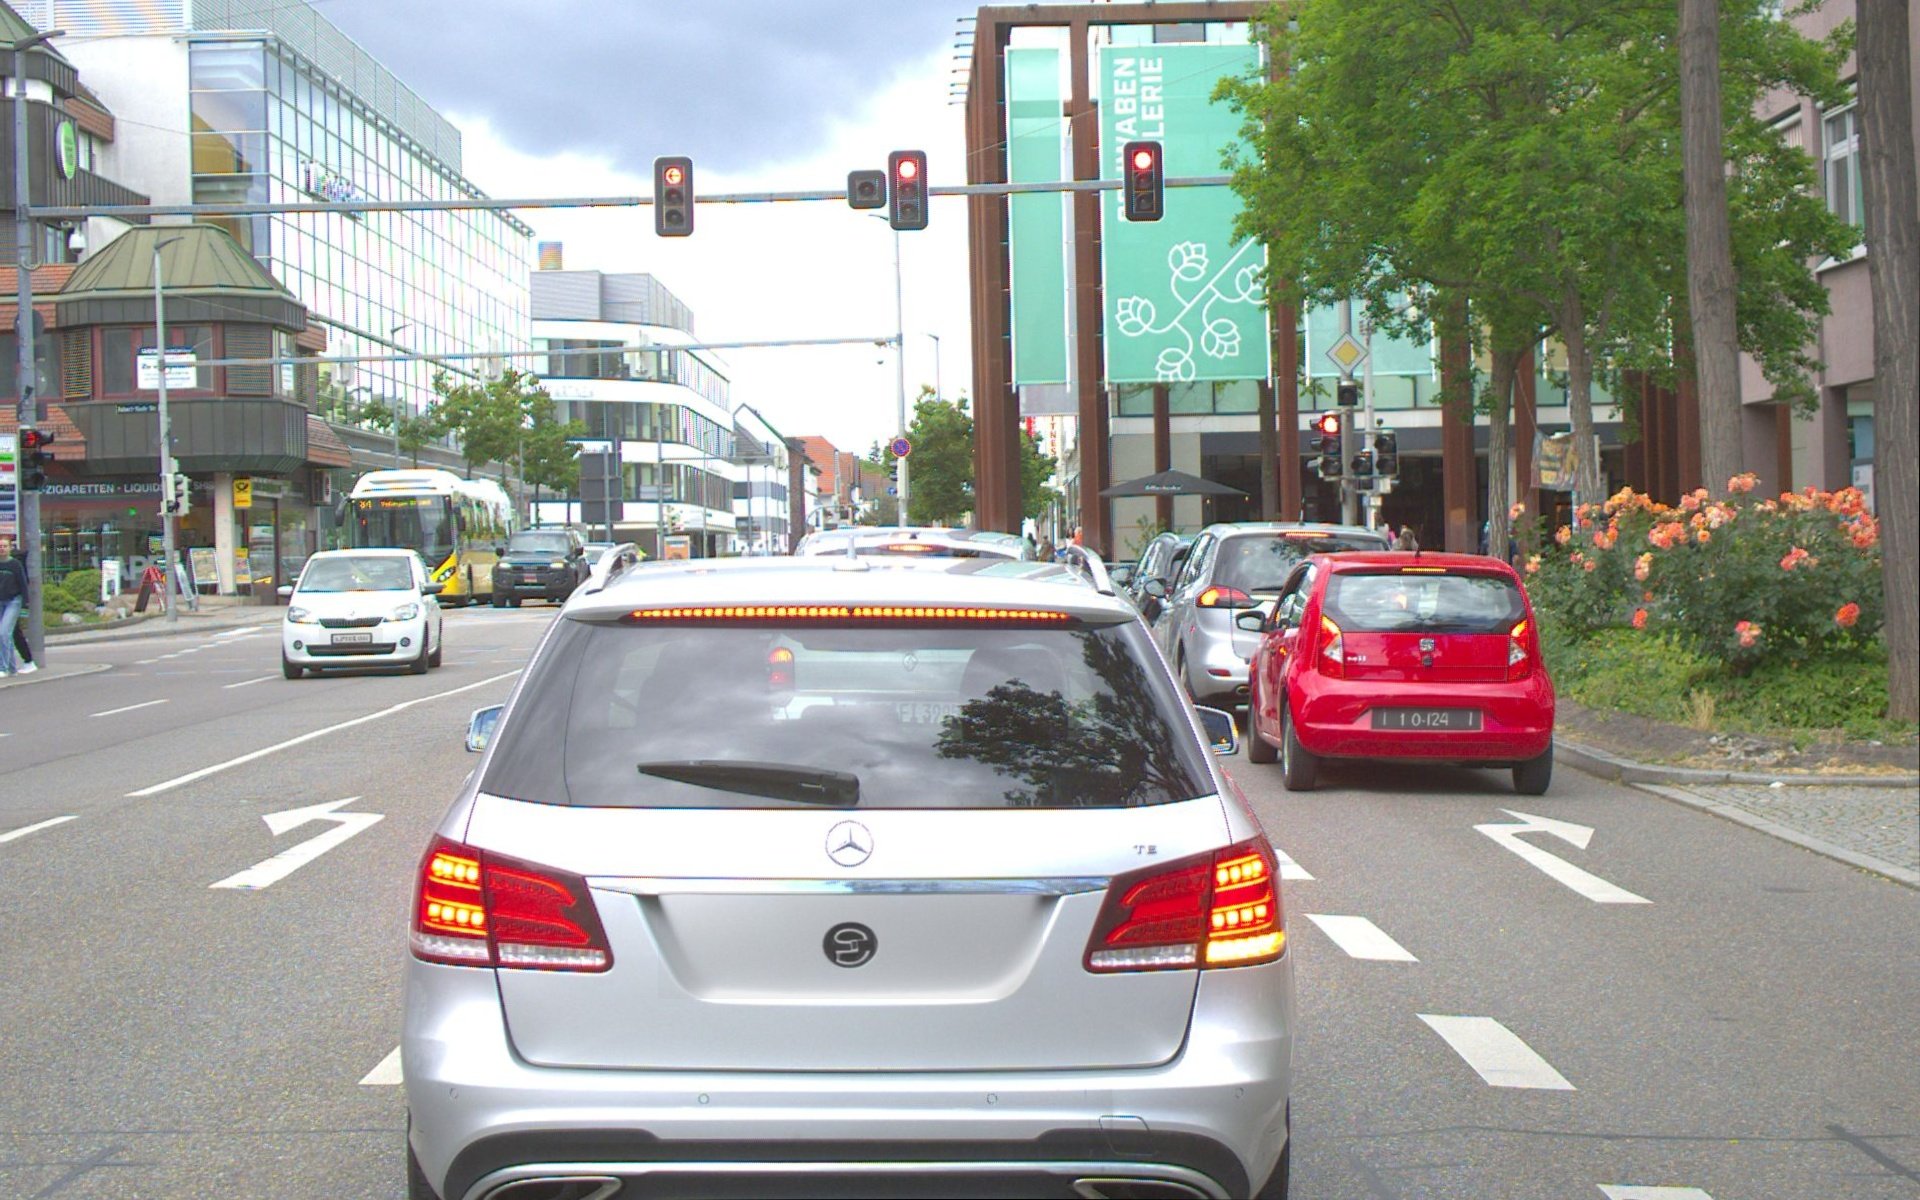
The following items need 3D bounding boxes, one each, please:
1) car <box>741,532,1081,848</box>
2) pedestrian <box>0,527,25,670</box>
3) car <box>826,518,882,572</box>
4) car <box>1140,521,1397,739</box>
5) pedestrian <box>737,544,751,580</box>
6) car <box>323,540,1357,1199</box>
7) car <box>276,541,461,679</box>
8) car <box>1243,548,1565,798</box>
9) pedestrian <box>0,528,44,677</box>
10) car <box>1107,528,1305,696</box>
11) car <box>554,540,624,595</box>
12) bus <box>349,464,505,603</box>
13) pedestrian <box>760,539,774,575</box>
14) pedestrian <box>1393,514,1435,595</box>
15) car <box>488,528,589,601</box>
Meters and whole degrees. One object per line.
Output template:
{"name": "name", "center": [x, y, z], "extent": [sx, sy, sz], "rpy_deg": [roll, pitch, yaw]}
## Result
{"name": "car", "center": [-0.254, 0.405, 18.330], "extent": [1.640, 1.522, 3.394], "rpy_deg": [0, 1, 0]}
{"name": "pedestrian", "center": [-12.023, -0.016, 42.727], "extent": [0.644, 1.769, 0.570], "rpy_deg": [-1, 1, -25]}
{"name": "car", "center": [-3.934, -2.048, 127.967], "extent": [1.993, 1.942, 4.951], "rpy_deg": [-1, 1, -1]}
{"name": "car", "center": [2.442, 0.189, 28.020], "extent": [1.586, 1.628, 3.917], "rpy_deg": [1, 1, -2]}
{"name": "pedestrian", "center": [-10.311, -1.813, 164.274], "extent": [0.519, 1.728, 0.489], "rpy_deg": [-1, 1, 13]}
{"name": "car", "center": [-0.222, 0.597, 8.285], "extent": [1.815, 1.443, 4.370], "rpy_deg": [1, 1, 0]}
{"name": "car", "center": [-6.851, 0.080, 40.117], "extent": [1.574, 1.483, 3.464], "rpy_deg": [-2, 1, -1]}
{"name": "car", "center": [2.758, 0.407, 21.963], "extent": [1.586, 1.438, 3.348], "rpy_deg": [1, 1, 0]}
{"name": "pedestrian", "center": [-11.625, 0.028, 41.767], "extent": [0.683, 1.784, 0.647], "rpy_deg": [0, 1, 41]}
{"name": "car", "center": [2.439, 0.077, 34.888], "extent": [1.586, 1.589, 3.868], "rpy_deg": [1, 1, -2]}
{"name": "car", "center": [-9.703, -0.863, 90.072], "extent": [1.555, 1.387, 3.288], "rpy_deg": [-1, 1, -1]}
{"name": "bus", "center": [-13.155, -1.656, 85.461], "extent": [2.686, 3.250, 8.654], "rpy_deg": [-1, 1, -1]}
{"name": "pedestrian", "center": [-9.270, -2.067, 164.862], "extent": [0.520, 1.728, 0.489], "rpy_deg": [-1, 1, 17]}
{"name": "pedestrian", "center": [9.314, -0.936, 70.551], "extent": [0.651, 1.645, 0.559], "rpy_deg": [-1, 1, -14]}
{"name": "car", "center": [-10.112, -0.871, 82.721], "extent": [1.993, 1.700, 4.065], "rpy_deg": [-1, 1, -1]}
